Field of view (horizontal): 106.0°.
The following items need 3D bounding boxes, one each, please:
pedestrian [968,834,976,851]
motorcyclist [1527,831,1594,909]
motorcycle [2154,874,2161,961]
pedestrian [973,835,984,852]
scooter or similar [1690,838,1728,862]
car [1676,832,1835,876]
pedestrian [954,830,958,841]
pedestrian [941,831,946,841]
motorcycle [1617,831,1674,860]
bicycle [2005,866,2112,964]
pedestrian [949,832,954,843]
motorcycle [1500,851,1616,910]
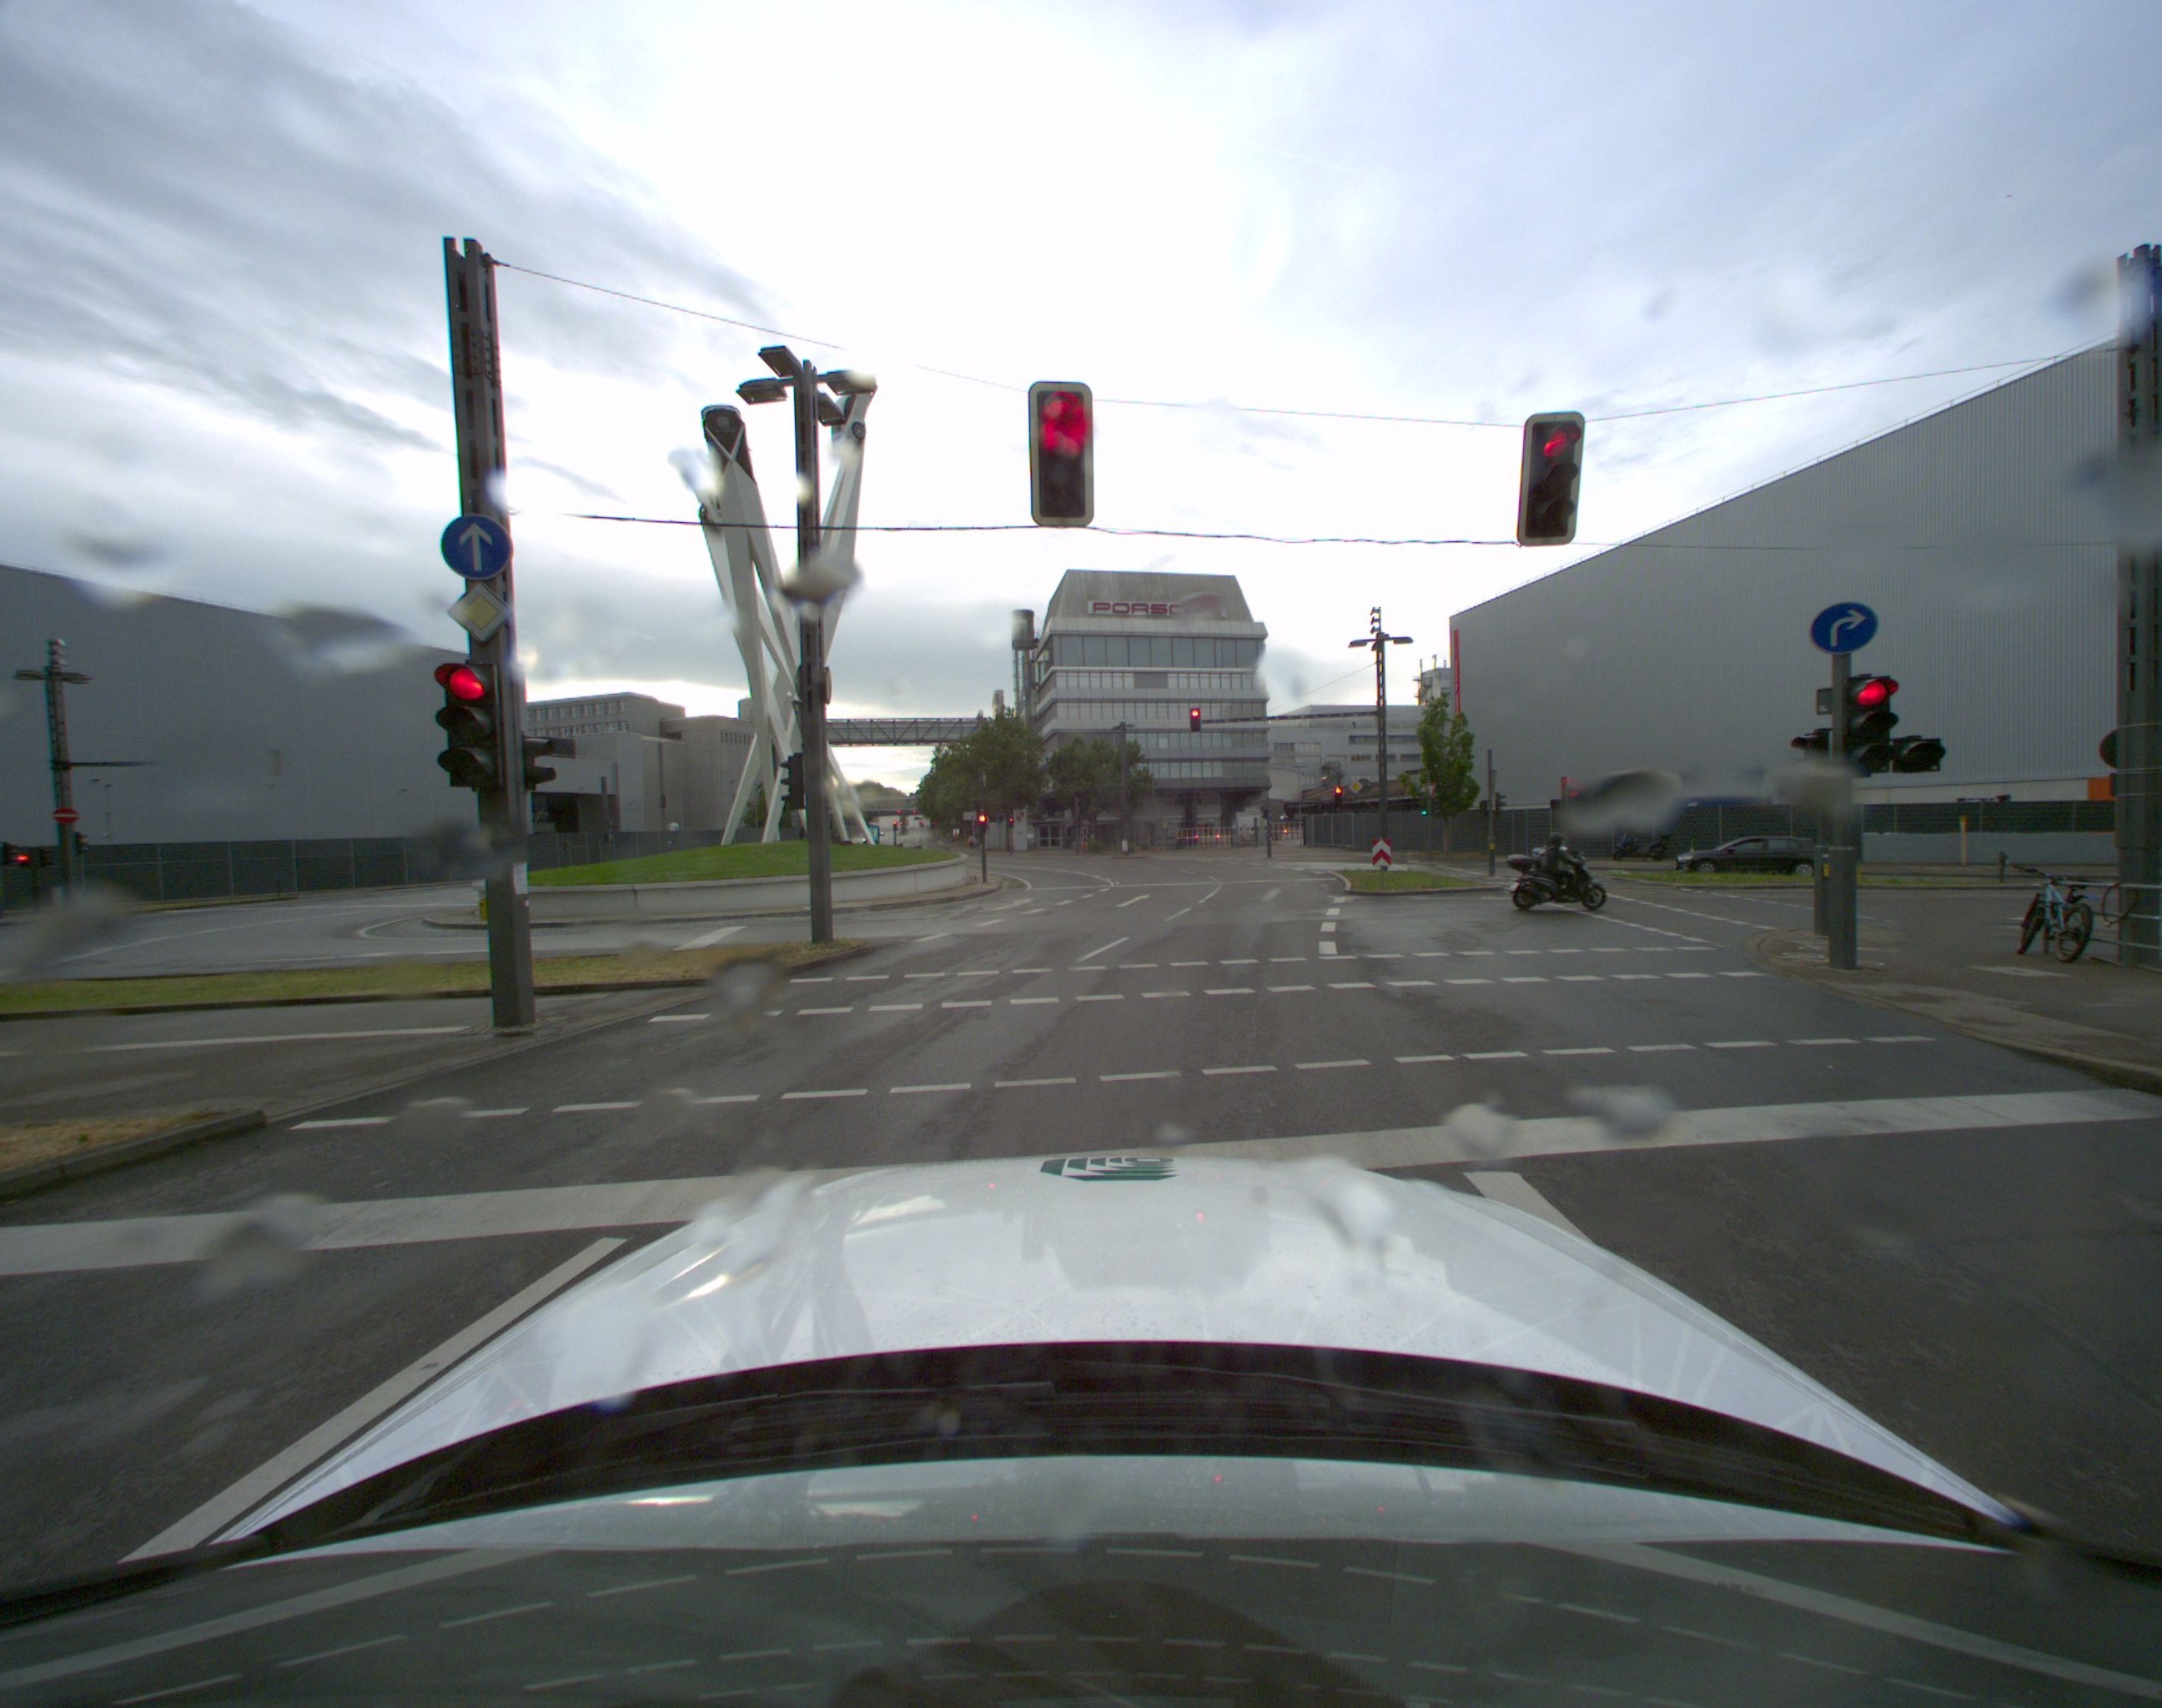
[{"bbox_3d":[-10.499,-1.118,78.201,0.708,1.591,0.839,-2,2,-7],"label":"pedestrian"},{"bbox_3d":[10.352,0.331,17.602,1.029,1.622,0.670,-2,0,-4],"label":"motorcyclist"},{"bbox_3d":[15.179,0.826,10.330,2.074,1.145,0.490,0,-1,11],"label":"motorcycle"},{"bbox_3d":[-9.683,-0.995,76.943,0.834,1.520,0.836,-3,2,-22],"label":"pedestrian"},{"bbox_3d":[27.545,-0.177,35.718,0.387,1.028,1.259,-2,2,-29],"label":"scooter or similar"},{"bbox_3d":[22.835,-0.018,27.786,3.949,1.425,1.732,0,1,31],"label":"car"},{"bbox_3d":[-20.111,-2.905,131.010,0.757,1.740,0.712,0,-1,-8],"label":"pedestrian"},{"bbox_3d":[-28.178,-3.620,166.946,0.761,2.013,0.693,-1,1,5],"label":"pedestrian"},{"bbox_3d":[25.579,-0.400,36.950,2.074,1.310,0.659,0,2,27],"label":"motorcycle"},{"bbox_3d":[12.569,0.733,10.524,0.416,1.130,2.086,-1,-1,37],"label":"bicycle"},{"bbox_3d":[-19.858,-2.500,124.432,0.712,1.740,0.757,0,-1,-12],"label":"pedestrian"},{"bbox_3d":[10.306,0.566,17.635,2.253,1.192,0.450,-2,0,-1],"label":"motorcycle"}]
